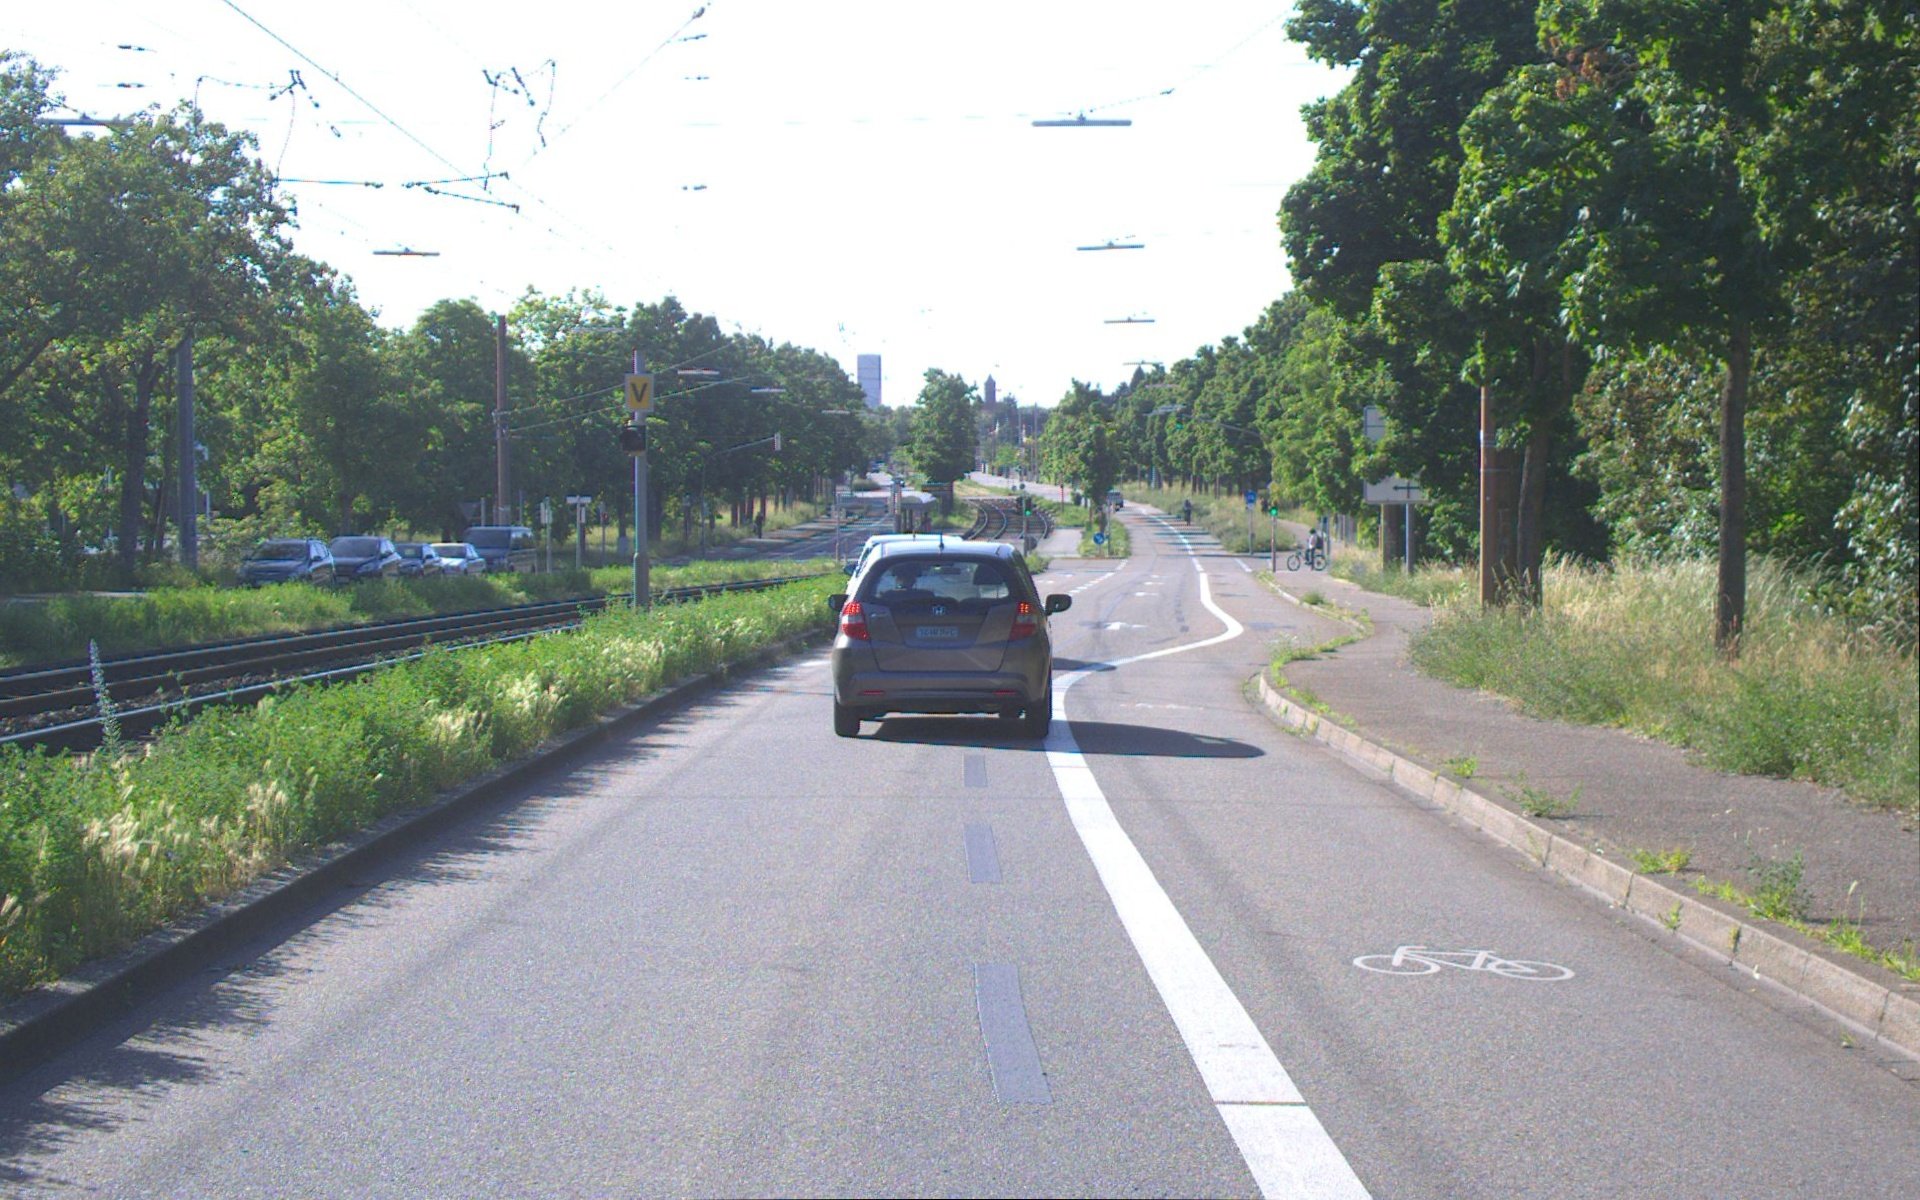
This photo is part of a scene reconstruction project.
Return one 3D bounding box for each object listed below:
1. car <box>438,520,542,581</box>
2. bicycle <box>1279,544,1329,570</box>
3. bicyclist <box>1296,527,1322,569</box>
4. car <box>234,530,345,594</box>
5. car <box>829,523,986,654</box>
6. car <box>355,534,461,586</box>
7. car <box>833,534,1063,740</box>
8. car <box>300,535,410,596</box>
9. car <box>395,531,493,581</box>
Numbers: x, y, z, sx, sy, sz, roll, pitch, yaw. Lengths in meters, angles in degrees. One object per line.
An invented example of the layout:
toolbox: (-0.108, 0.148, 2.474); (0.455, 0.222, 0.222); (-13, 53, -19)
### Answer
car: (-15.044, -1.614, 110.313); (2.197, 1.885, 4.790); (1, 1, 6)
bicycle: (14.261, -1.781, 142.484); (1.921, 0.994, 0.764); (-2, 0, 15)
bicyclist: (14.459, -2.153, 142.422); (0.911, 1.739, 0.764); (-1, 1, 15)
car: (-16.593, -0.944, 85.268); (1.735, 1.489, 4.328); (2, 1, 2)
car: (-0.637, -0.188, 44.674); (1.851, 1.601, 4.255); (0, 1, 1)
car: (-15.708, -1.159, 98.026); (1.994, 1.432, 4.414); (0, 1, 4)
car: (-0.040, 0.240, 27.790); (1.707, 1.503, 4.000); (1, 1, 1)
car: (-16.170, -0.943, 92.035); (1.994, 1.569, 4.435); (0, 1, 2)
car: (-15.565, -1.341, 103.967); (1.928, 1.432, 4.694); (0, 1, 4)
